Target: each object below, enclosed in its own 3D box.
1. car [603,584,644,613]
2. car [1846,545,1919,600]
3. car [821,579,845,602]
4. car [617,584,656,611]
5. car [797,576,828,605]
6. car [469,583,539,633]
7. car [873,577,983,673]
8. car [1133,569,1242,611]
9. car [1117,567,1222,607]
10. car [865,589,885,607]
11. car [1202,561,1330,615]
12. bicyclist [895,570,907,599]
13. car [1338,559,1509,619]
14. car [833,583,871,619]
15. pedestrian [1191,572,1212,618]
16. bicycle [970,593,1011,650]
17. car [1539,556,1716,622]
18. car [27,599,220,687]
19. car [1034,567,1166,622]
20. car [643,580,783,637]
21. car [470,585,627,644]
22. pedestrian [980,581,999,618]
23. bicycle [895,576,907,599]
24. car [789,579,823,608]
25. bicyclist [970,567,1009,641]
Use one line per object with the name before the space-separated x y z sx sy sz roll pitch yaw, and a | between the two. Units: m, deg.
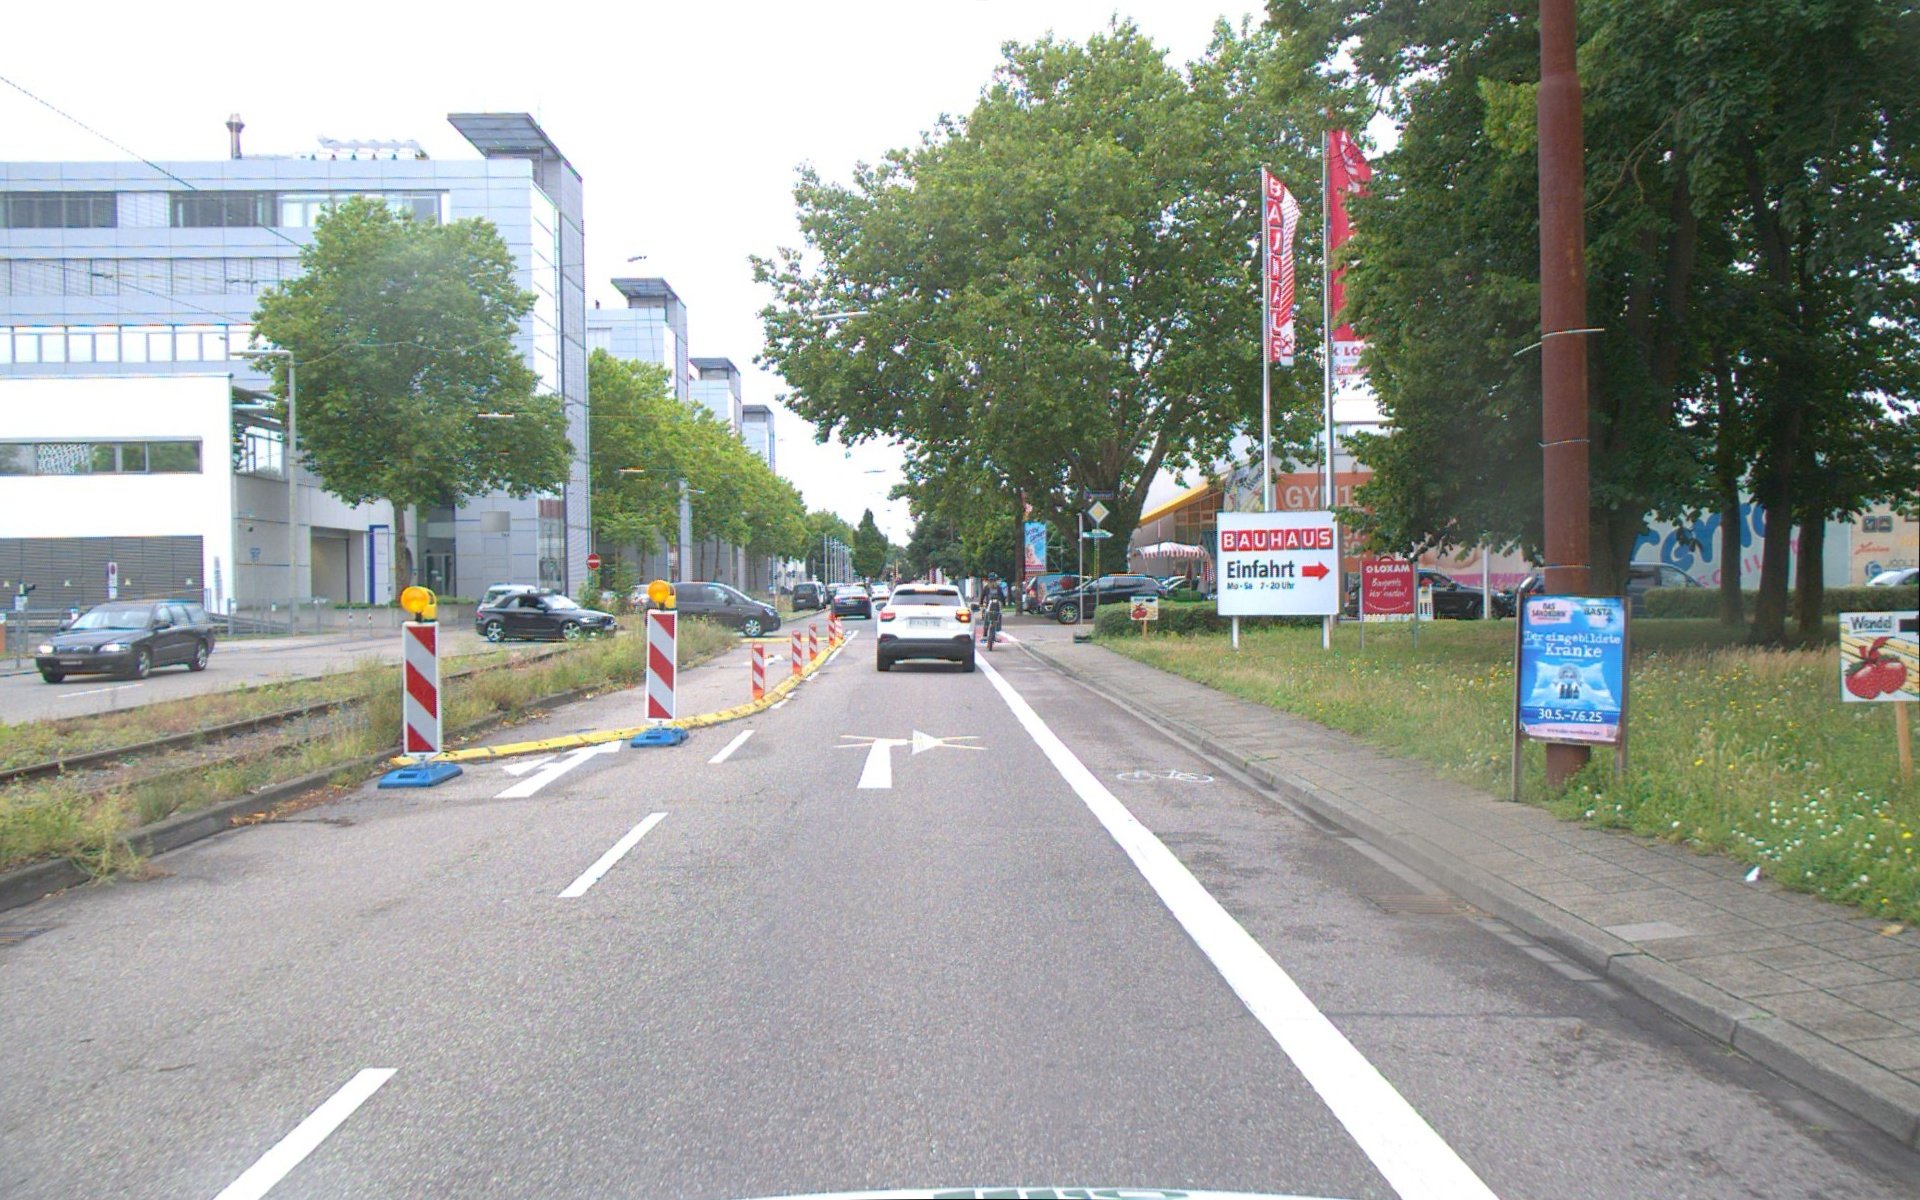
car | -20.462 -0.106 100.756 1.839 1.661 3.998 -2 1 -3
car | 29.574 -0.878 50.018 4.461 1.599 2.073 -2 1 -2
car | -10.534 -0.773 137.129 1.839 1.794 3.998 -2 1 -3
car | -20.875 -0.161 106.737 1.839 1.661 4.203 -2 1 -3
car | -9.689 -0.650 108.747 1.839 1.794 3.998 -2 1 -3
car | -17.405 0.269 63.329 1.784 1.814 4.422 -2 1 -5
car | -0.644 0.399 30.262 1.788 1.628 3.772 0 1 -5
car | 9.379 -0.428 68.315 4.130 1.579 1.788 -2 1 -5
car | 8.893 -0.546 70.443 4.130 1.579 1.788 -2 1 -5
car | -7.769 -0.196 150.852 1.760 1.540 3.702 0 1 -5
car | 10.434 -0.421 56.672 4.123 1.706 1.994 -1 1 6
bicyclist | -3.684 -0.975 103.148 0.657 1.847 0.759 0 1 -5
car | 13.641 -0.325 48.865 4.461 1.599 1.992 -2 1 -2
car | -4.808 0.033 73.420 1.651 1.540 3.702 0 1 -5
pedestrian | 9.222 -0.203 63.196 0.666 1.734 0.598 -2 1 -4
bicycle | 0.691 0.478 38.273 0.800 1.234 2.682 -1 1 -2
car | 19.928 -0.349 49.492 4.461 1.821 2.073 -1 1 -2
car | -16.088 0.776 32.070 1.784 1.498 4.422 -2 1 -5
car | 4.700 -0.203 55.821 4.227 1.706 1.992 -2 1 -2
car | -7.150 0.251 48.162 3.805 1.583 1.825 1 0 -2
car | -11.787 0.413 47.386 4.031 1.501 1.826 -3 -1 21
pedestrian | 1.384 -0.018 78.114 0.746 1.734 0.680 -2 1 -7
bicycle | -3.676 -0.782 103.062 0.657 1.418 2.165 0 1 -5
car | -9.565 -0.428 102.935 1.839 1.661 3.998 -2 1 -3
bicyclist | 0.679 0.087 38.267 0.800 1.658 1.235 -1 0 -2
